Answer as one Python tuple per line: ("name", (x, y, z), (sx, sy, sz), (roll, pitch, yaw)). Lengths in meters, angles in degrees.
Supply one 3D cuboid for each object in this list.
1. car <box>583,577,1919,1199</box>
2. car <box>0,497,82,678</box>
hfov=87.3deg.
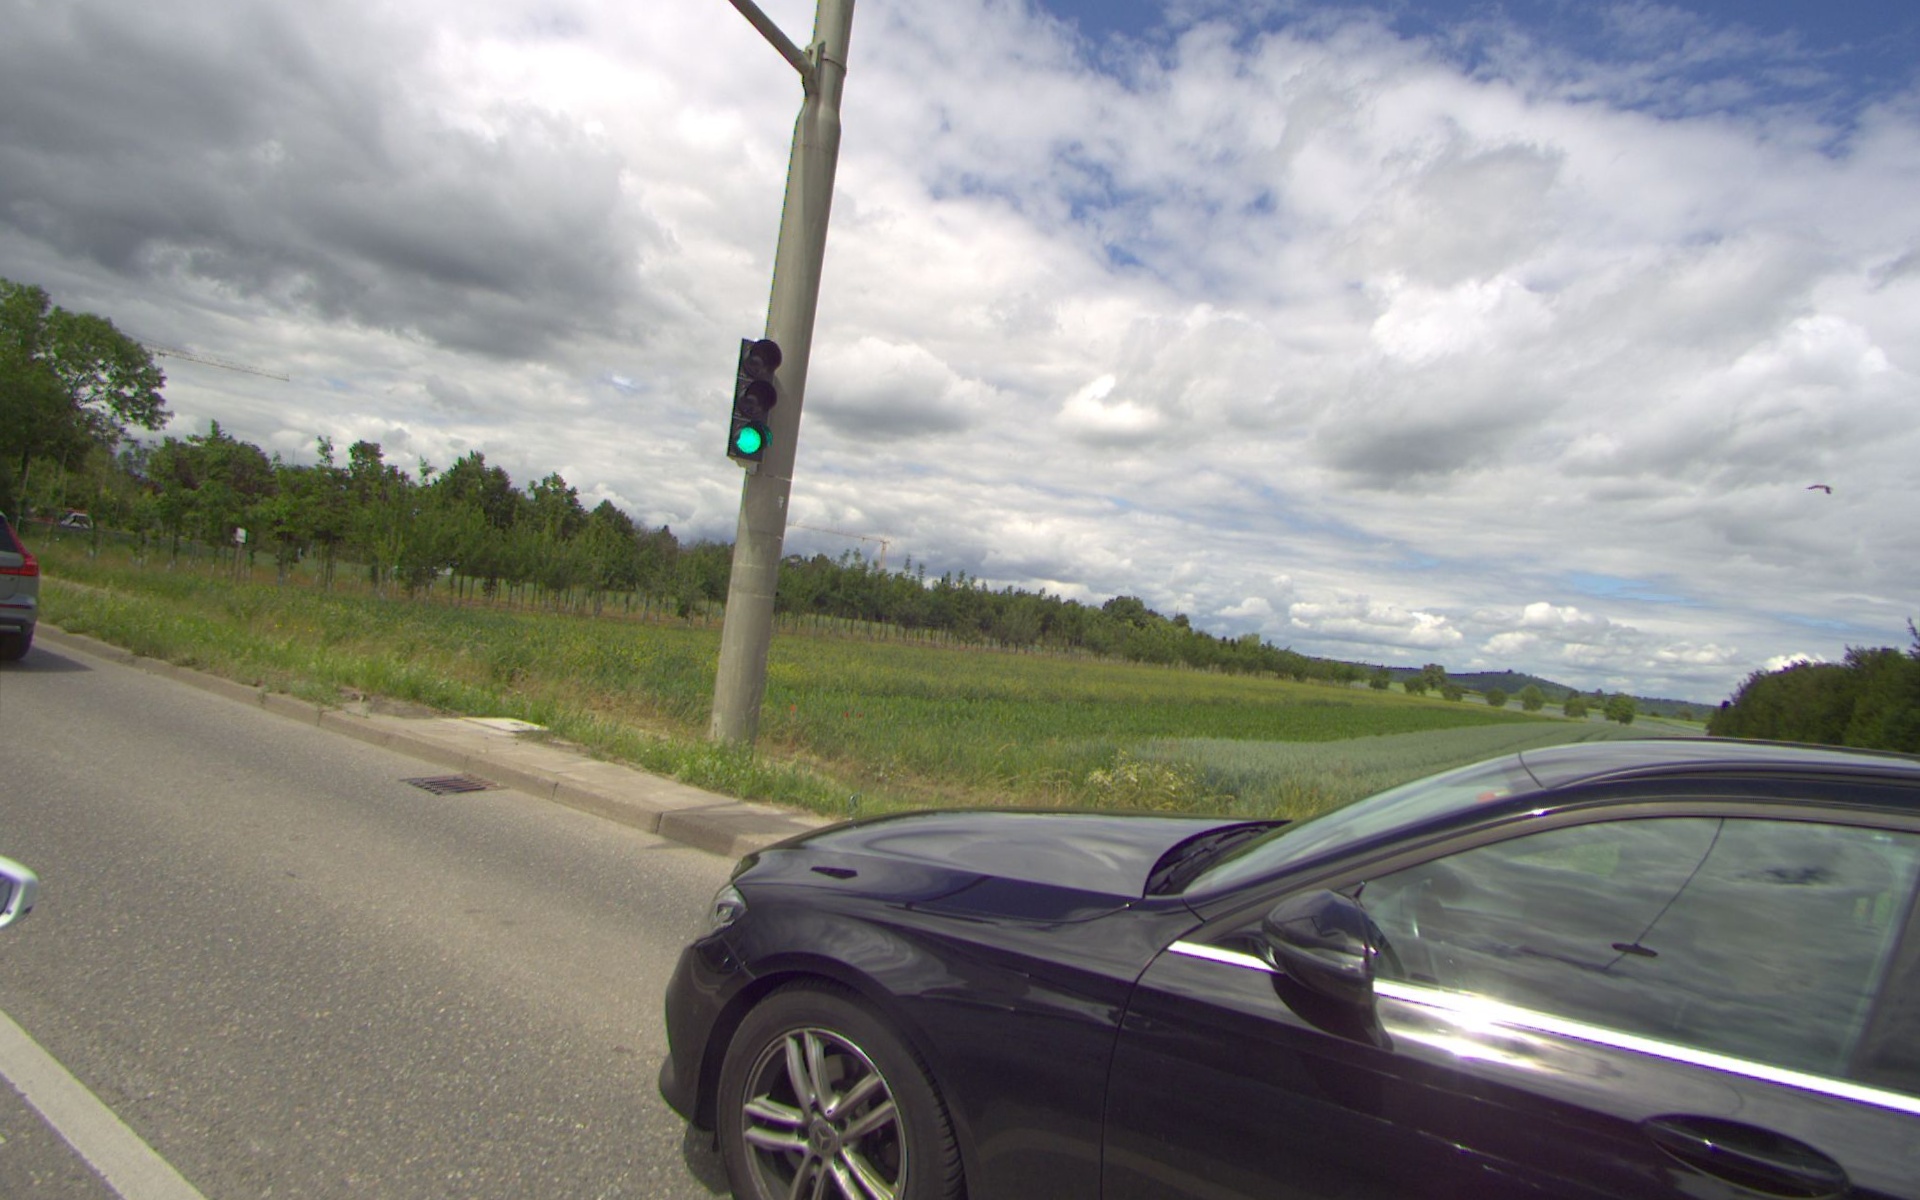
("car", (1.773, 1.000, 2.016), (5.113, 1.458, 1.876), (7, -1, 31))
("car", (-10.290, -0.362, 9.365), (4.372, 1.536, 1.866), (7, -1, 31))
